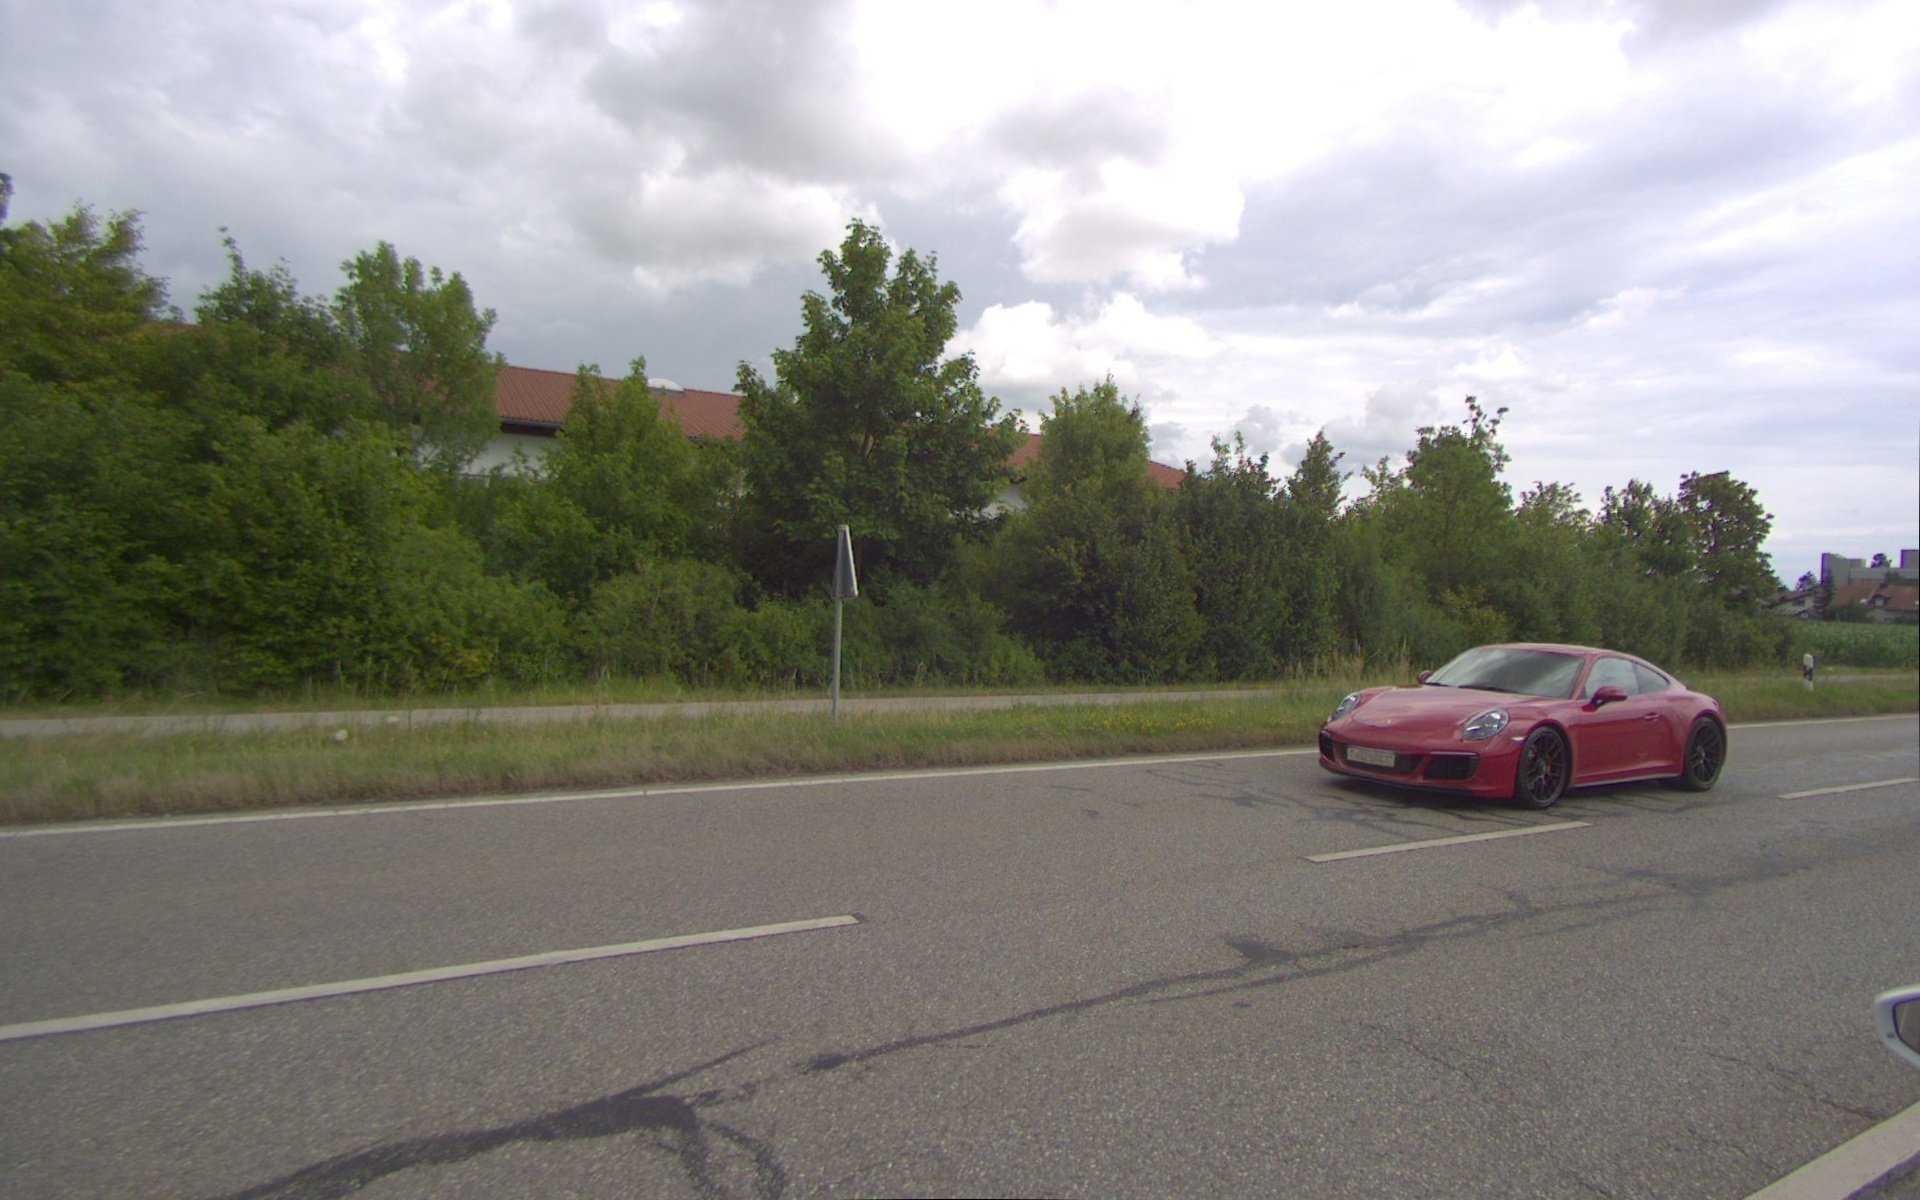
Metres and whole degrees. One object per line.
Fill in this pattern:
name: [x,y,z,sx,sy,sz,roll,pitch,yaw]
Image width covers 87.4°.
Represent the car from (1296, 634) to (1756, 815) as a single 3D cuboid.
car: [5.273,1.002,9.262,4.160,1.257,1.763,2,0,-29]
